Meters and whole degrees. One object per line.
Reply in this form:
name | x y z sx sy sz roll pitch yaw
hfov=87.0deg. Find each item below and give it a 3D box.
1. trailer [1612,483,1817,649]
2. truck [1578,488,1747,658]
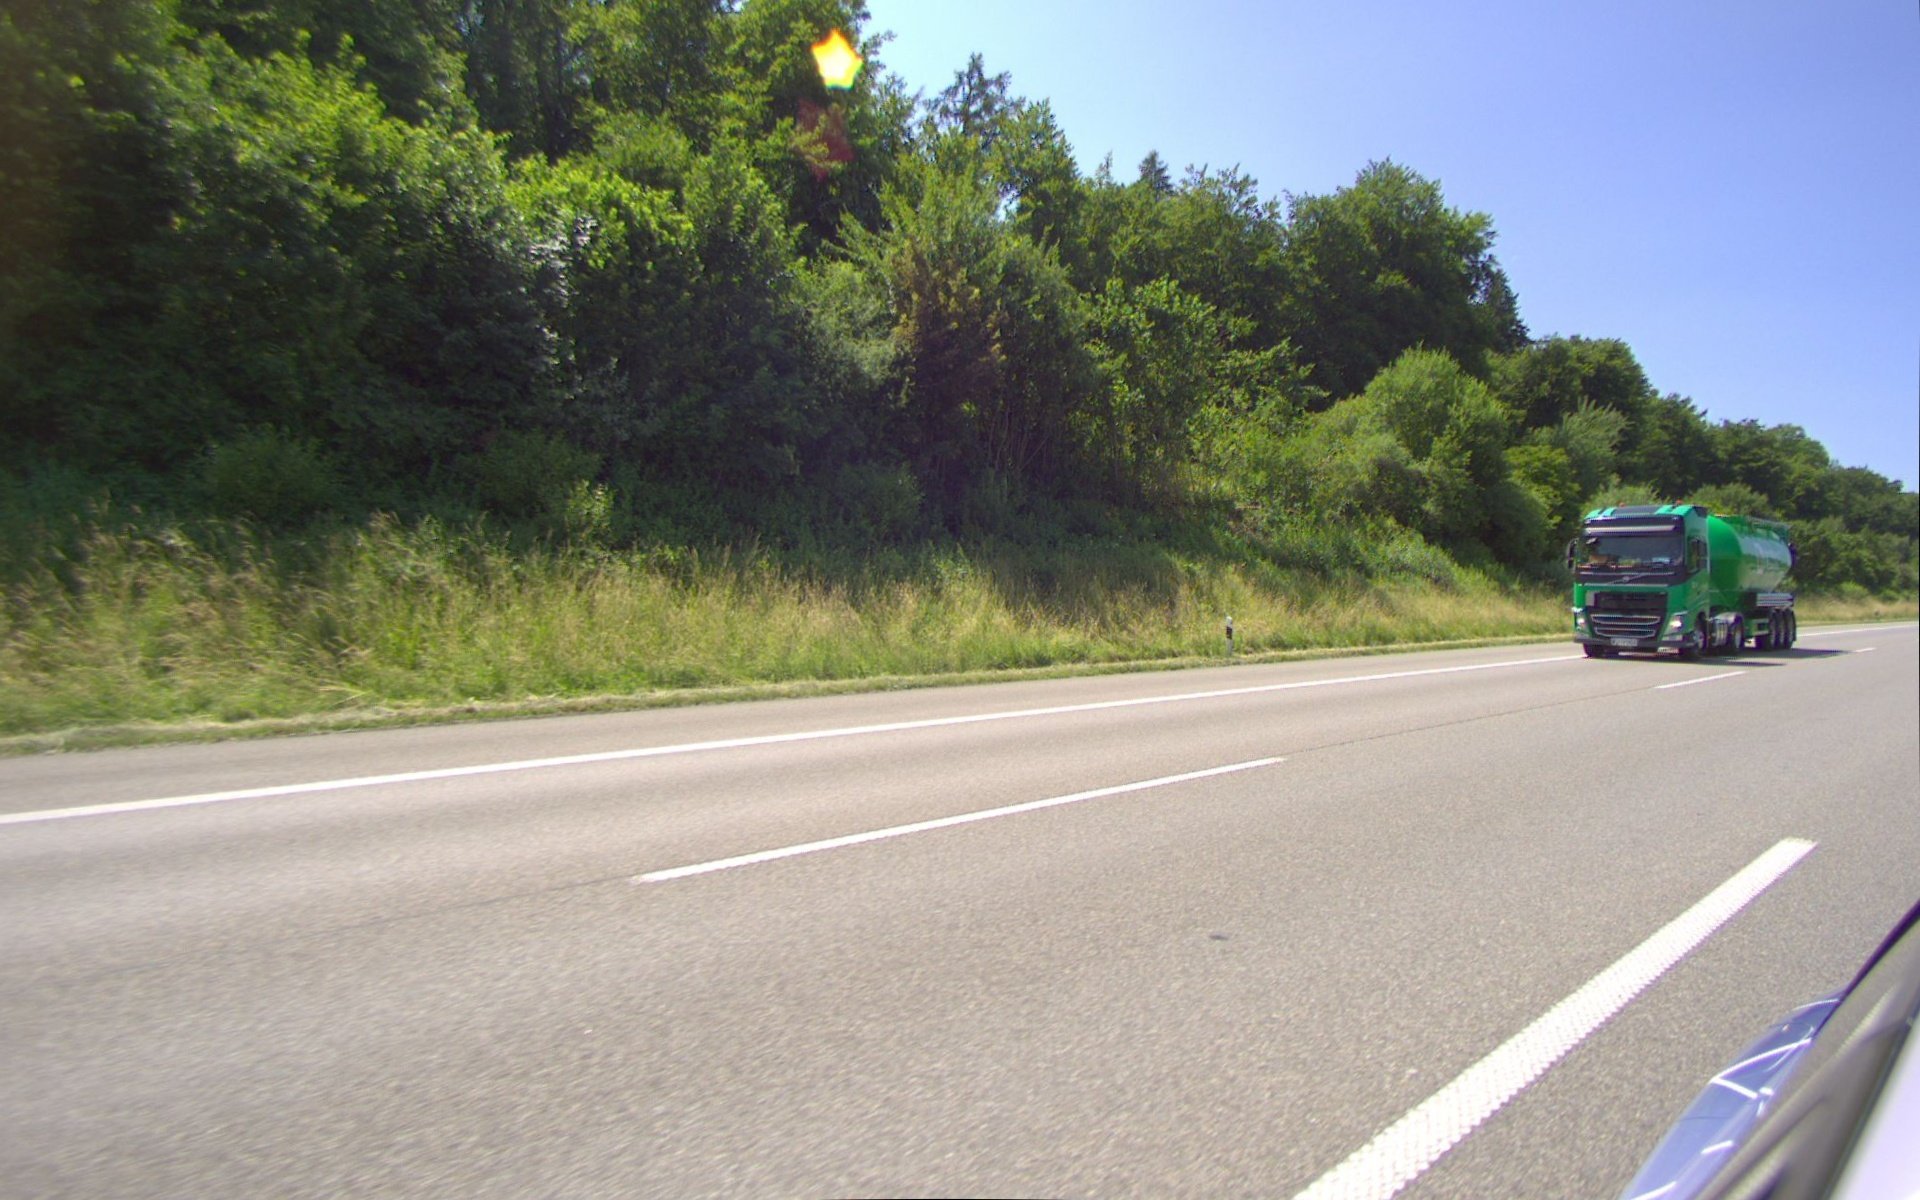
trailer | 22.051 -0.801 29.255 10.285 4.079 2.592 1 -1 -41
truck | 17.868 -0.599 25.646 4.808 3.891 2.513 1 -1 -42
